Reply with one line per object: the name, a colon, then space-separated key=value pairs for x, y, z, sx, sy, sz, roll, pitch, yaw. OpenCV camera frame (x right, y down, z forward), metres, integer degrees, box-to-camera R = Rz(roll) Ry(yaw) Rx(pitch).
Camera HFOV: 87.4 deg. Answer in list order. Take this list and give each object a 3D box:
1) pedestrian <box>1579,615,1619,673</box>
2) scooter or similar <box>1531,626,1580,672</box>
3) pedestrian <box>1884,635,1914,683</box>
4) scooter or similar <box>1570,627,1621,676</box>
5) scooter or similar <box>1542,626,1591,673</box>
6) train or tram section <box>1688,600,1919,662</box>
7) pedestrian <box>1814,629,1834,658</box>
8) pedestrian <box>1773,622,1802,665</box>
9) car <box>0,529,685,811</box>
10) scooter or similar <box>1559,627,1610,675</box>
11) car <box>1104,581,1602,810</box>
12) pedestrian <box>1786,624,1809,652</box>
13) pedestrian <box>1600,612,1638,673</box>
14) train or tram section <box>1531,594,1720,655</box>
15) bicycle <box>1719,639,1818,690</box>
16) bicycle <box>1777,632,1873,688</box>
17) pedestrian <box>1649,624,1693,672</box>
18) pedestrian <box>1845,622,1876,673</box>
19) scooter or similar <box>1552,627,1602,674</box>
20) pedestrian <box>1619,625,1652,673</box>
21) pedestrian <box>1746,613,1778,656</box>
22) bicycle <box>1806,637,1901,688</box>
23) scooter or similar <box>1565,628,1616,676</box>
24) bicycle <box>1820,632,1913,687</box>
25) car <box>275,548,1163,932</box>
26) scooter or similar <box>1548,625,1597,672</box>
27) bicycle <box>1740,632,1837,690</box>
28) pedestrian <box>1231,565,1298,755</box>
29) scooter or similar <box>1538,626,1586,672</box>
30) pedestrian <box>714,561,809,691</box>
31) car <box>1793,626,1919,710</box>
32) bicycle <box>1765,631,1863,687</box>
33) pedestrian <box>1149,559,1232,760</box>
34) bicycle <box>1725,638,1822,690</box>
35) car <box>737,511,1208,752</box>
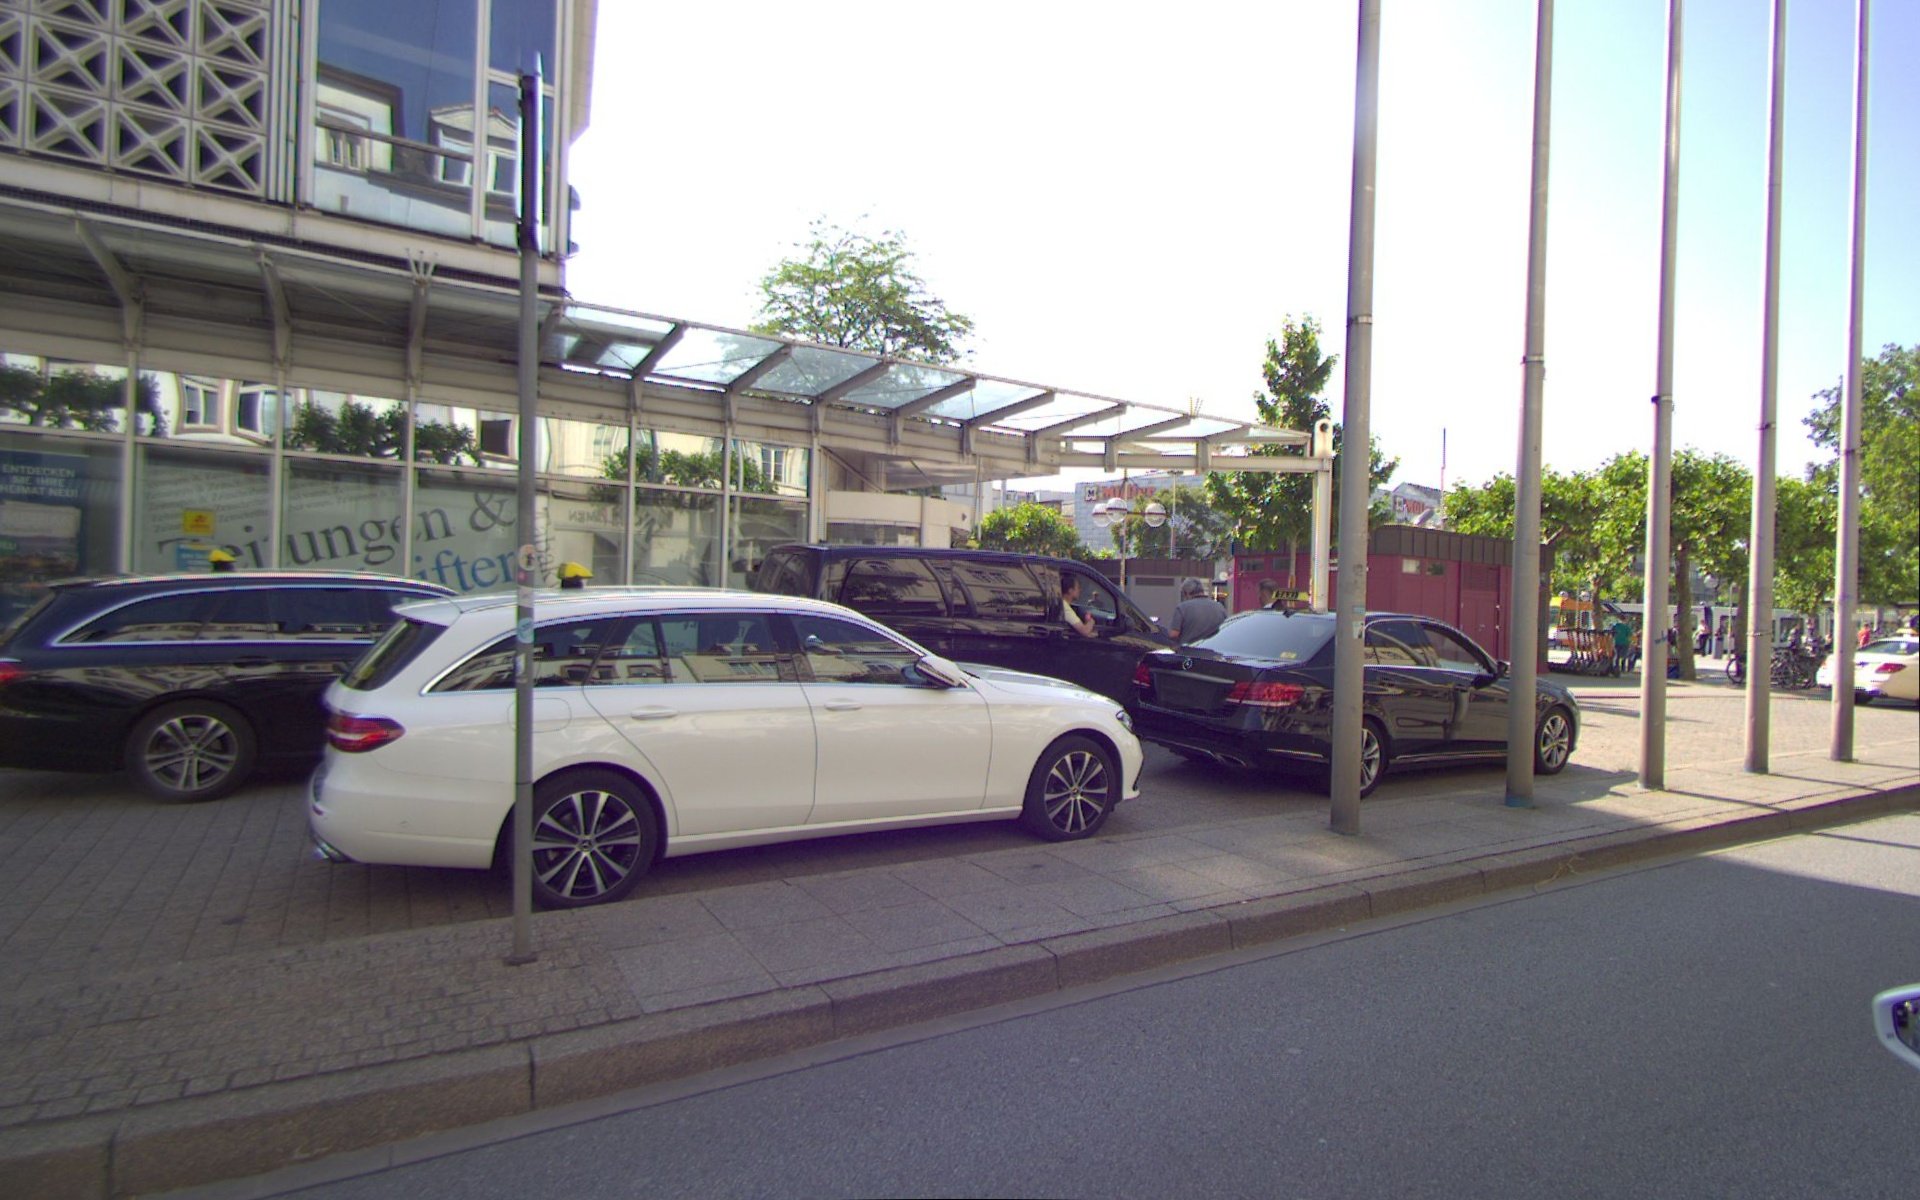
pedestrian: x=18.612 y=1.274 z=29.254 sx=0.668 sy=1.627 sz=0.795 roll=2 pitch=1 yaw=-43
scooter or similar: x=16.572 y=1.356 z=27.949 sx=1.280 sy=1.230 sz=0.264 roll=2 pitch=0 yaw=-11
pedestrian: x=35.160 y=2.207 z=37.616 sx=0.598 sy=1.762 sz=0.574 roll=2 pitch=1 yaw=-25
scooter or similar: x=16.579 y=1.350 z=26.191 sx=1.280 sy=1.230 sz=0.233 roll=2 pitch=0 yaw=-11
scooter or similar: x=16.560 y=1.346 z=27.439 sx=1.280 sy=1.230 sz=0.233 roll=2 pitch=0 yaw=-11
train or tram section: x=58.118 y=2.091 z=67.873 sx=15.234 sy=3.725 sz=2.623 roll=2 pitch=0 yaw=5
pedestrian: x=38.396 y=1.933 z=44.654 sx=0.601 sy=1.279 sz=0.610 roll=2 pitch=0 yaw=38
pedestrian: x=30.811 y=1.633 z=37.394 sx=0.598 sy=1.553 sz=0.574 roll=2 pitch=1 yaw=-25
car: x=-4.595 y=0.439 z=7.718 sx=4.357 sy=1.632 sz=1.980 roll=2 pitch=0 yaw=-35
scooter or similar: x=16.591 y=1.351 z=26.686 sx=1.280 sy=1.230 sz=0.233 roll=2 pitch=0 yaw=-11
car: x=3.672 y=0.725 z=9.074 sx=4.657 sy=1.621 sz=1.751 roll=2 pitch=0 yaw=-32
pedestrian: x=38.643 y=1.739 z=46.348 sx=0.600 sy=1.279 sz=0.611 roll=2 pitch=0 yaw=15
pedestrian: x=18.644 y=1.194 z=28.418 sx=0.681 sy=1.700 sz=0.665 roll=2 pitch=0 yaw=-39
train or tram section: x=45.453 y=1.666 z=68.869 sx=10.780 sy=3.725 sz=2.623 roll=2 pitch=0 yaw=5
bicycle: x=19.701 y=1.553 z=24.504 sx=0.556 sy=1.120 sz=1.771 roll=2 pitch=0 yaw=-33
bicycle: x=22.635 y=1.552 z=26.305 sx=0.656 sy=1.326 sz=1.771 roll=2 pitch=0 yaw=-33
pedestrian: x=21.249 y=1.434 z=30.015 sx=0.884 sy=1.400 sz=0.670 roll=2 pitch=0 yaw=-22
pedestrian: x=34.577 y=1.827 z=38.582 sx=0.651 sy=1.904 sz=0.631 roll=3 pitch=1 yaw=26
scooter or similar: x=16.544 y=1.356 z=26.924 sx=1.280 sy=1.230 sz=0.233 roll=2 pitch=0 yaw=-11
pedestrian: x=19.279 y=1.395 z=28.667 sx=0.663 sy=1.326 sz=0.683 roll=2 pitch=0 yaw=42
pedestrian: x=34.603 y=1.482 z=43.334 sx=0.788 sy=1.772 sz=0.606 roll=3 pitch=0 yaw=1
bicycle: x=23.885 y=1.655 z=26.877 sx=0.656 sy=1.231 sz=1.771 roll=2 pitch=0 yaw=-33
scooter or similar: x=16.602 y=1.373 z=26.448 sx=1.280 sy=1.230 sz=0.233 roll=2 pitch=0 yaw=-11
bicycle: x=25.429 y=1.647 z=28.202 sx=0.733 sy=1.366 sz=1.771 roll=2 pitch=1 yaw=-33
car: x=-1.175 y=0.587 z=6.011 sx=4.684 sy=1.543 sz=1.790 roll=1 pitch=1 yaw=-31
scooter or similar: x=16.566 y=1.321 z=27.178 sx=1.280 sy=1.230 sz=0.233 roll=2 pitch=0 yaw=-11
bicycle: x=20.748 y=1.499 z=25.183 sx=0.556 sy=1.326 sz=1.771 roll=2 pitch=0 yaw=-33
pedestrian: x=3.010 y=0.578 z=9.966 sx=0.528 sy=1.816 sz=0.533 roll=2 pitch=0 yaw=9
scooter or similar: x=16.602 y=1.355 z=27.693 sx=1.280 sy=1.230 sz=0.233 roll=2 pitch=0 yaw=-11
pedestrian: x=-2.681 y=0.347 z=13.570 sx=1.094 sy=1.684 sz=0.593 roll=2 pitch=0 yaw=-30
car: x=20.378 y=1.456 z=20.792 sx=4.768 sy=1.562 sz=1.896 roll=3 pitch=0 yaw=-3
bicycle: x=21.881 y=1.490 z=25.769 sx=0.656 sy=1.326 sz=1.771 roll=2 pitch=0 yaw=-33
pedestrian: x=2.164 y=0.543 z=9.497 sx=0.679 sy=1.816 sz=0.620 roll=2 pitch=0 yaw=9
bicycle: x=20.208 y=1.572 z=24.989 sx=0.556 sy=1.147 sz=1.771 roll=2 pitch=0 yaw=-33
car: x=0.225 y=0.319 z=10.491 sx=4.631 sy=2.040 sz=1.823 roll=2 pitch=0 yaw=-31
